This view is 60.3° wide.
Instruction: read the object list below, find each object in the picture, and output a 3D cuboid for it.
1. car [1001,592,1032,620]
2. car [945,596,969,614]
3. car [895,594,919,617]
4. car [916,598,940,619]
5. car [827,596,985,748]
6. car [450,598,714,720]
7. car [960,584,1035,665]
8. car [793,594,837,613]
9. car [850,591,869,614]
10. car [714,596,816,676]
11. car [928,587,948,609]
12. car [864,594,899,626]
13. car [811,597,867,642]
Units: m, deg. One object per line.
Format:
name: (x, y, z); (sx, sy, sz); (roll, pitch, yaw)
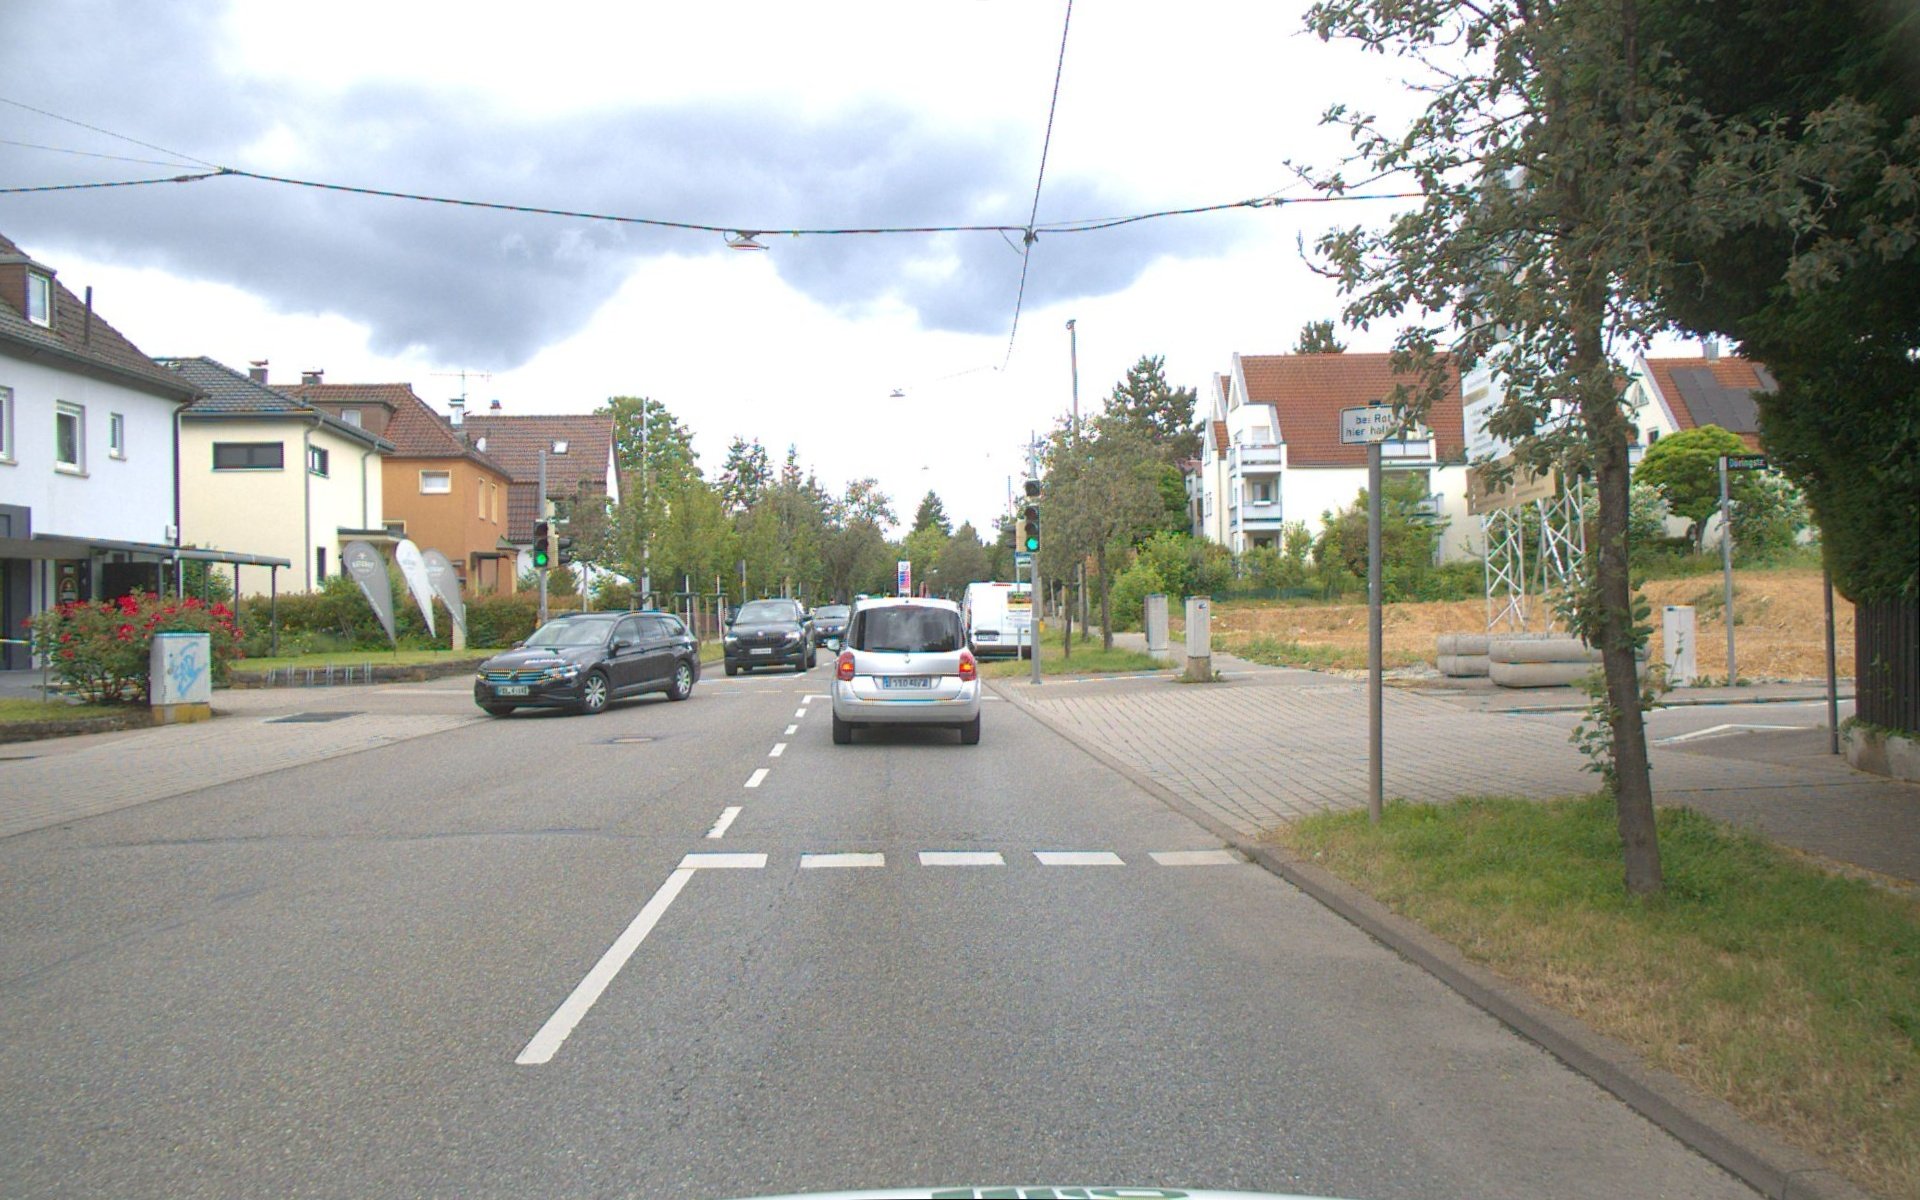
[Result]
car: (3.624, 0.370, 106.191); (1.792, 1.741, 4.549); (-1, 0, 0)
car: (-0.242, 0.452, 141.142); (1.596, 1.477, 3.870); (-2, 0, -6)
car: (-4.386, 0.418, 137.795); (1.758, 1.782, 4.299); (-2, 0, 0)
car: (-2.814, 0.722, 145.866); (1.799, 1.743, 3.996); (-3, 0, -4)
car: (-0.572, 0.763, 19.178); (1.645, 1.587, 3.511); (1, 0, 0)
car: (-5.701, 0.846, 25.613); (1.951, 1.649, 4.651); (-2, 0, 16)
car: (0.921, 0.584, 42.949); (1.739, 1.977, 4.788); (0, 0, -1)
car: (-13.761, 0.325, 157.173); (4.003, 1.735, 1.747); (-2, 0, 0)
car: (-12.601, 0.303, 206.954); (2.031, 2.627, 5.299); (-3, 0, -1)
car: (-4.359, 0.768, 37.533); (1.857, 1.653, 3.999); (-2, 0, -1)
car: (-3.120, -0.285, 233.374); (2.237, 2.962, 5.272); (0, 0, -6)
car: (-4.565, 0.586, 96.388); (1.777, 1.722, 4.465); (-3, 0, -1)
car: (-4.316, 0.664, 59.339); (1.582, 1.497, 4.001); (-2, 0, 1)
